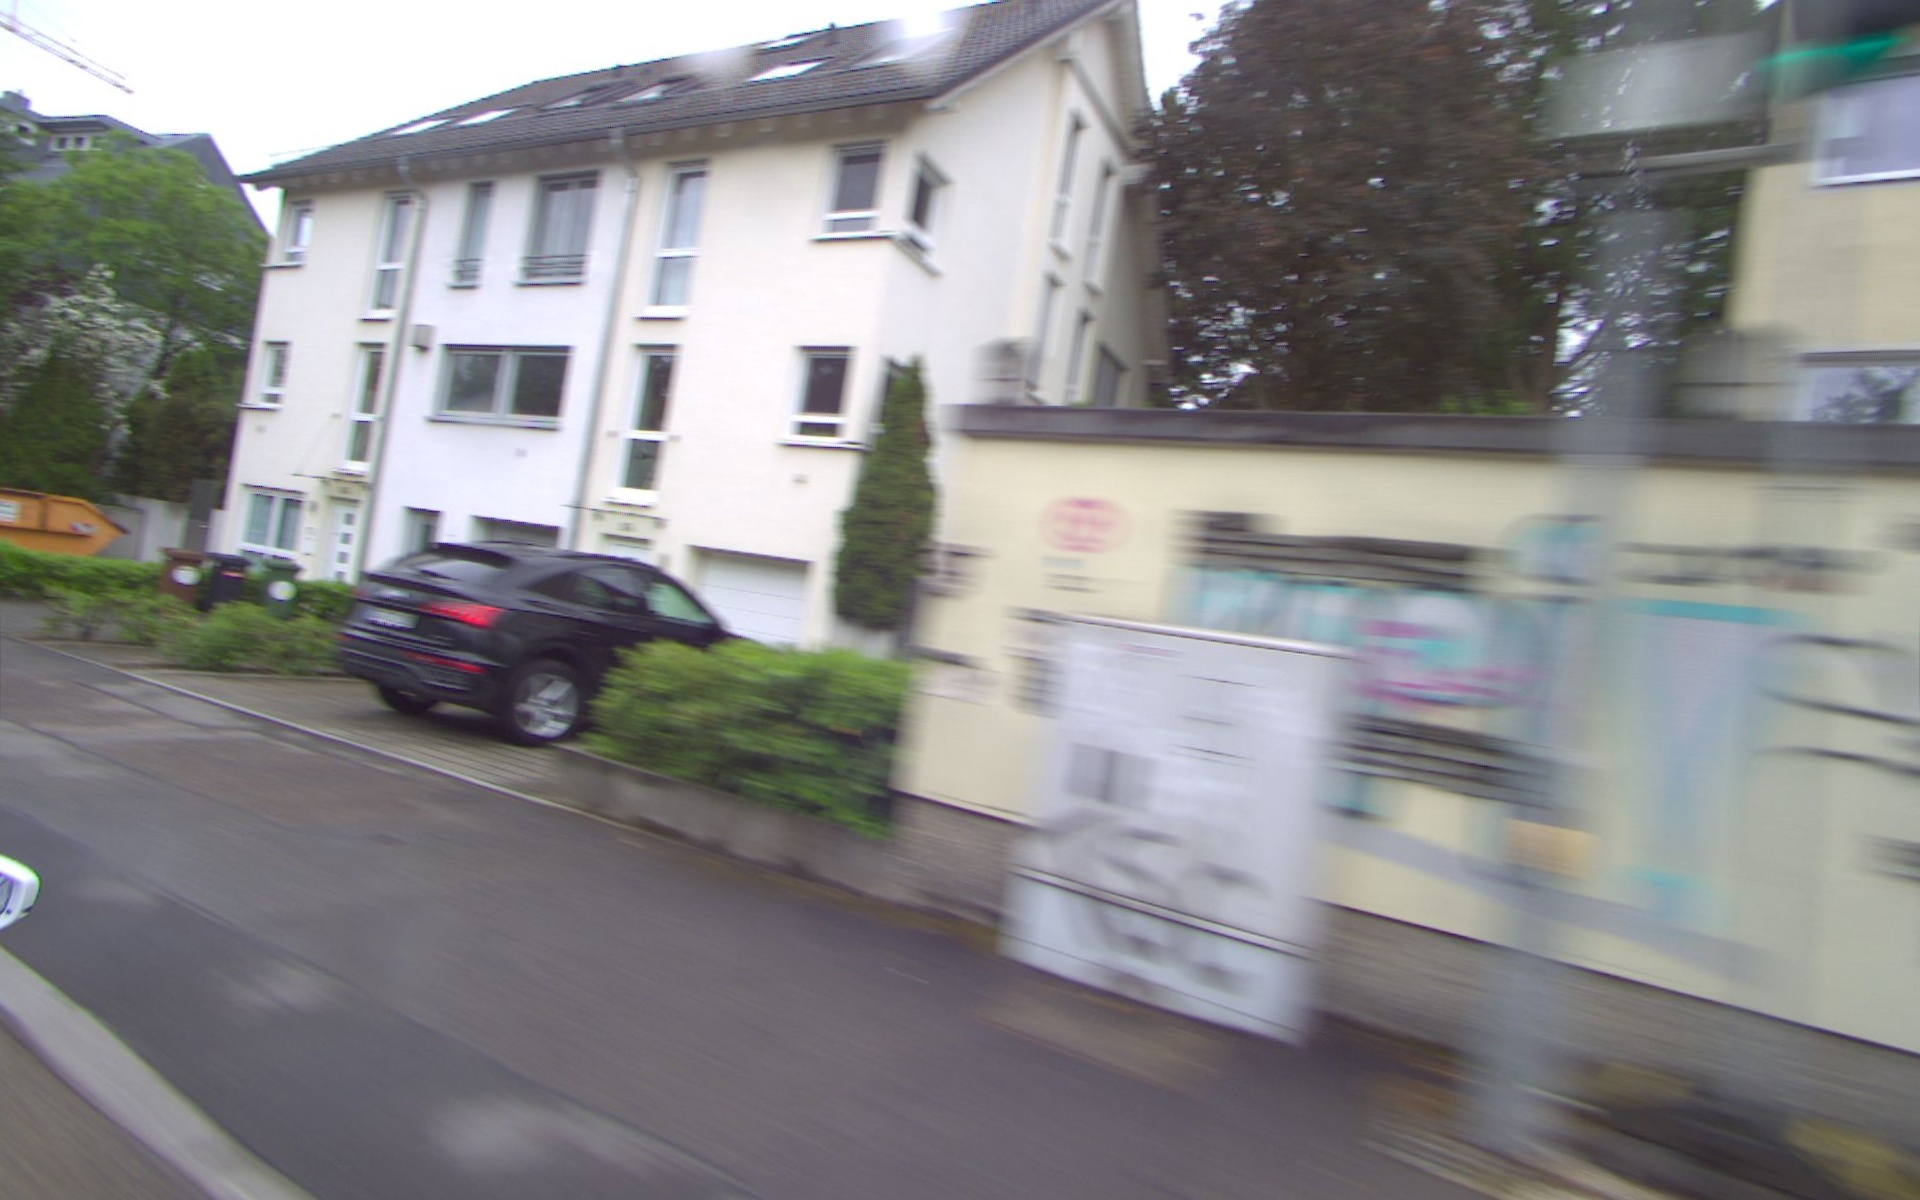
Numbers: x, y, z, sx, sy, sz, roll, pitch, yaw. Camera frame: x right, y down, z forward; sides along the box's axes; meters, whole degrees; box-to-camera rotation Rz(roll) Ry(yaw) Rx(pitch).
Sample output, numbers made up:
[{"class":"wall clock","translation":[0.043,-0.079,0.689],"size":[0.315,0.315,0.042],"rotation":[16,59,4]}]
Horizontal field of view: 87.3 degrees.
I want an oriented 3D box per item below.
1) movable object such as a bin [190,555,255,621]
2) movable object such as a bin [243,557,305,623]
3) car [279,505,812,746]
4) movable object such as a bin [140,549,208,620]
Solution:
[{"class":"movable object such as a bin","translation":[-11.345,-0.183,15.484],"size":[0.585,0.922,0.508],"rotation":[7,0,25]},{"class":"movable object such as a bin","translation":[-11.037,-0.162,16.198],"size":[0.585,0.966,0.508],"rotation":[7,0,25]},{"class":"car","translation":[-3.568,0.414,9.640],"size":[1.957,1.612,4.346],"rotation":[7,-5,27]},{"class":"movable object such as a bin","translation":[-11.658,-0.233,14.925],"size":[0.585,0.952,0.508],"rotation":[7,0,25]}]
